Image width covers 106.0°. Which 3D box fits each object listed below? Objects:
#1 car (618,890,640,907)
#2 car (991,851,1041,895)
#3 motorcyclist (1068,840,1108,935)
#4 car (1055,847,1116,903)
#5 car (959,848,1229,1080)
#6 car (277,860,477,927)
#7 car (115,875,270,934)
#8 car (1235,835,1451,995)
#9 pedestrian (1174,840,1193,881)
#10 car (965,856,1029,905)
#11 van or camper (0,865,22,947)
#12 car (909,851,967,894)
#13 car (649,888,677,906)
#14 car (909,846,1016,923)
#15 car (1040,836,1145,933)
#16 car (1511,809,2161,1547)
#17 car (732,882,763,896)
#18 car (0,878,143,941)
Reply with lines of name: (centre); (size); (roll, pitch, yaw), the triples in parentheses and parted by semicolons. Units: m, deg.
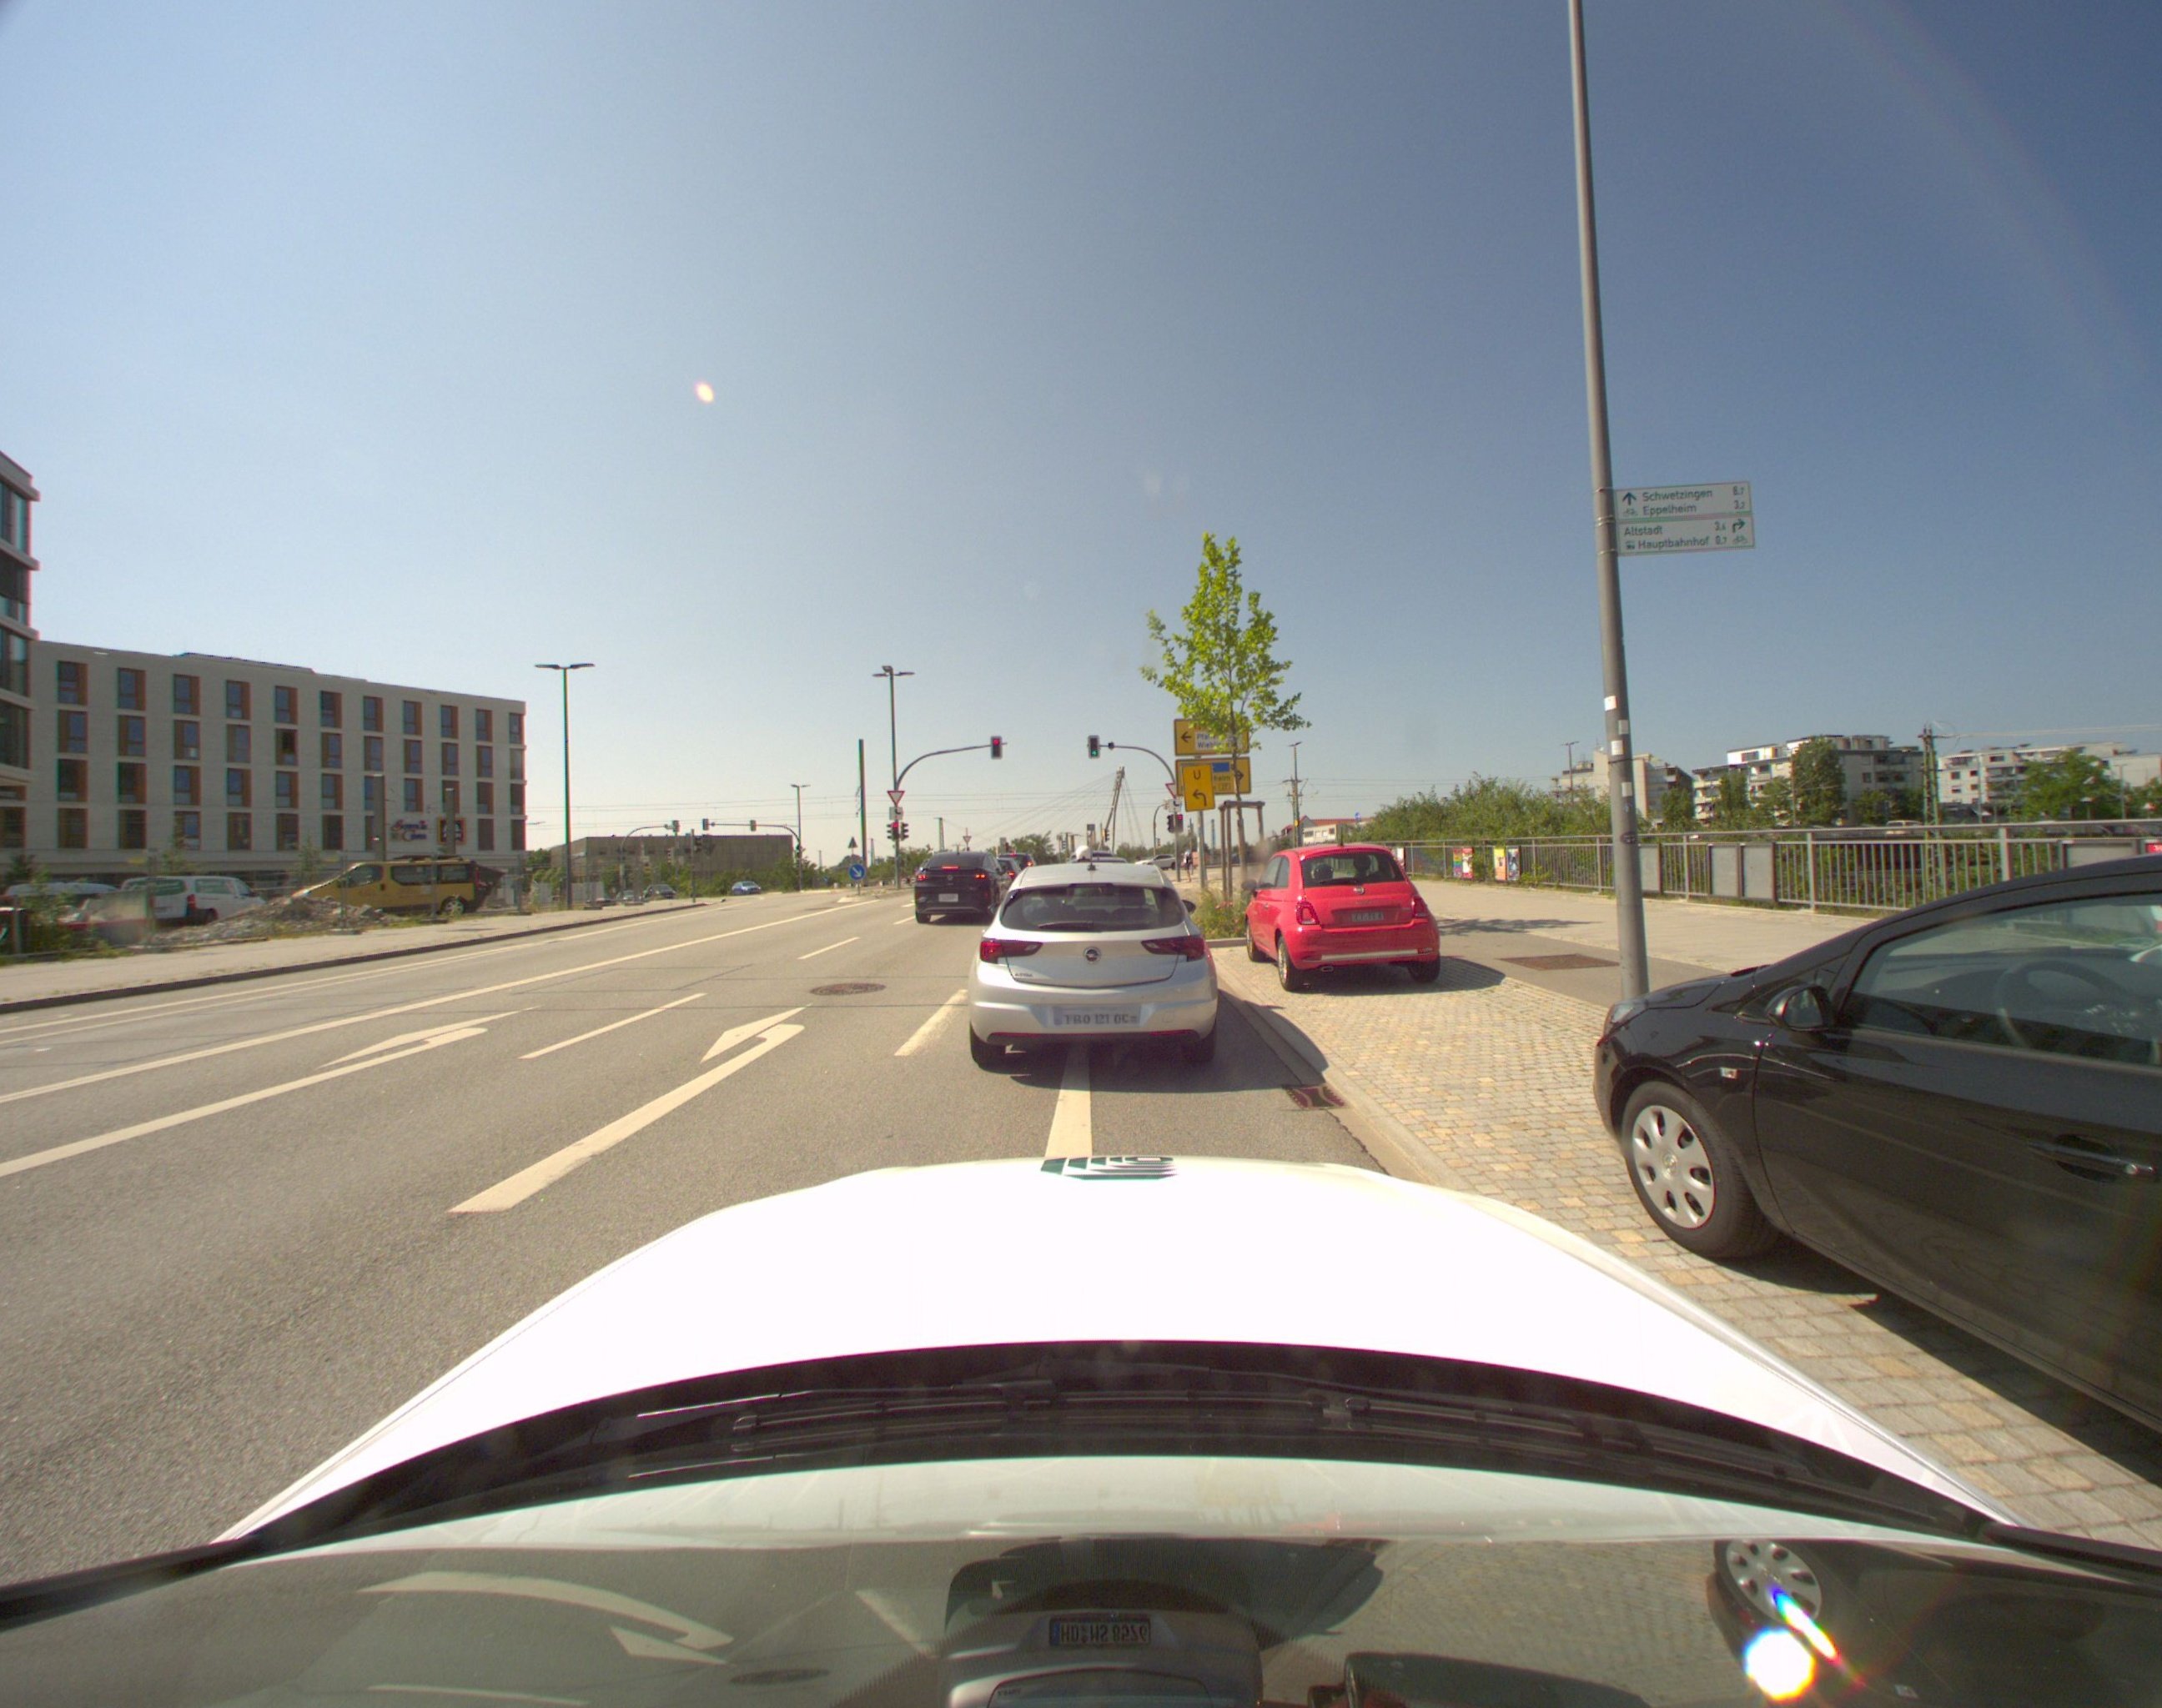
car: (-45.438, 4.477, 81.894); (1.578, 1.587, 3.441); (0, -1, -35)
car: (-2.473, 0.719, 31.799); (1.644, 1.615, 3.819); (0, -1, 0)
motorcyclist: (0.105, 0.498, 12.388); (0.580, 1.389, 0.706); (0, -1, 0)
car: (0.206, 0.592, 25.089); (1.717, 1.563, 4.002); (0, 1, 2)
car: (0.066, 0.724, 7.258); (1.738, 1.478, 3.998); (0, -1, -1)
car: (-22.681, 1.191, 26.410); (1.964, 1.962, 4.655); (-1, -1, 40)
car: (-31.032, 1.688, 28.670); (1.873, 1.774, 4.619); (0, -1, -22)
car: (2.926, 0.606, 9.805); (1.603, 1.496, 3.355); (-4, 0, 3)
pedestrian: (4.710, 0.288, 37.396); (0.645, 1.836, 0.798); (-5, -1, 0)
car: (-2.601, 0.786, 25.910); (1.569, 1.434, 3.786); (0, -1, 1)
van or camper: (-36.475, 1.715, 25.327); (2.318, 2.735, 4.944); (0, -1, -26)
car: (-5.410, 0.694, 31.253); (1.592, 1.547, 3.761); (0, -1, 0)
car: (-38.458, 3.967, 74.928); (1.686, 1.476, 3.368); (-2, 0, -37)
car: (-2.716, 0.676, 19.636); (1.795, 1.641, 4.367); (0, -1, 2)
car: (0.287, 0.566, 17.661); (1.986, 1.820, 4.404); (0, 0, 2)
car: (2.894, 0.592, 1.934); (1.654, 1.426, 4.001); (-3, -1, 1)
car: (-33.209, 3.490, 81.052); (1.831, 1.331, 3.954); (0, -2, -38)
car: (-33.677, 1.778, 27.197); (1.795, 1.857, 3.816); (0, -1, -28)
